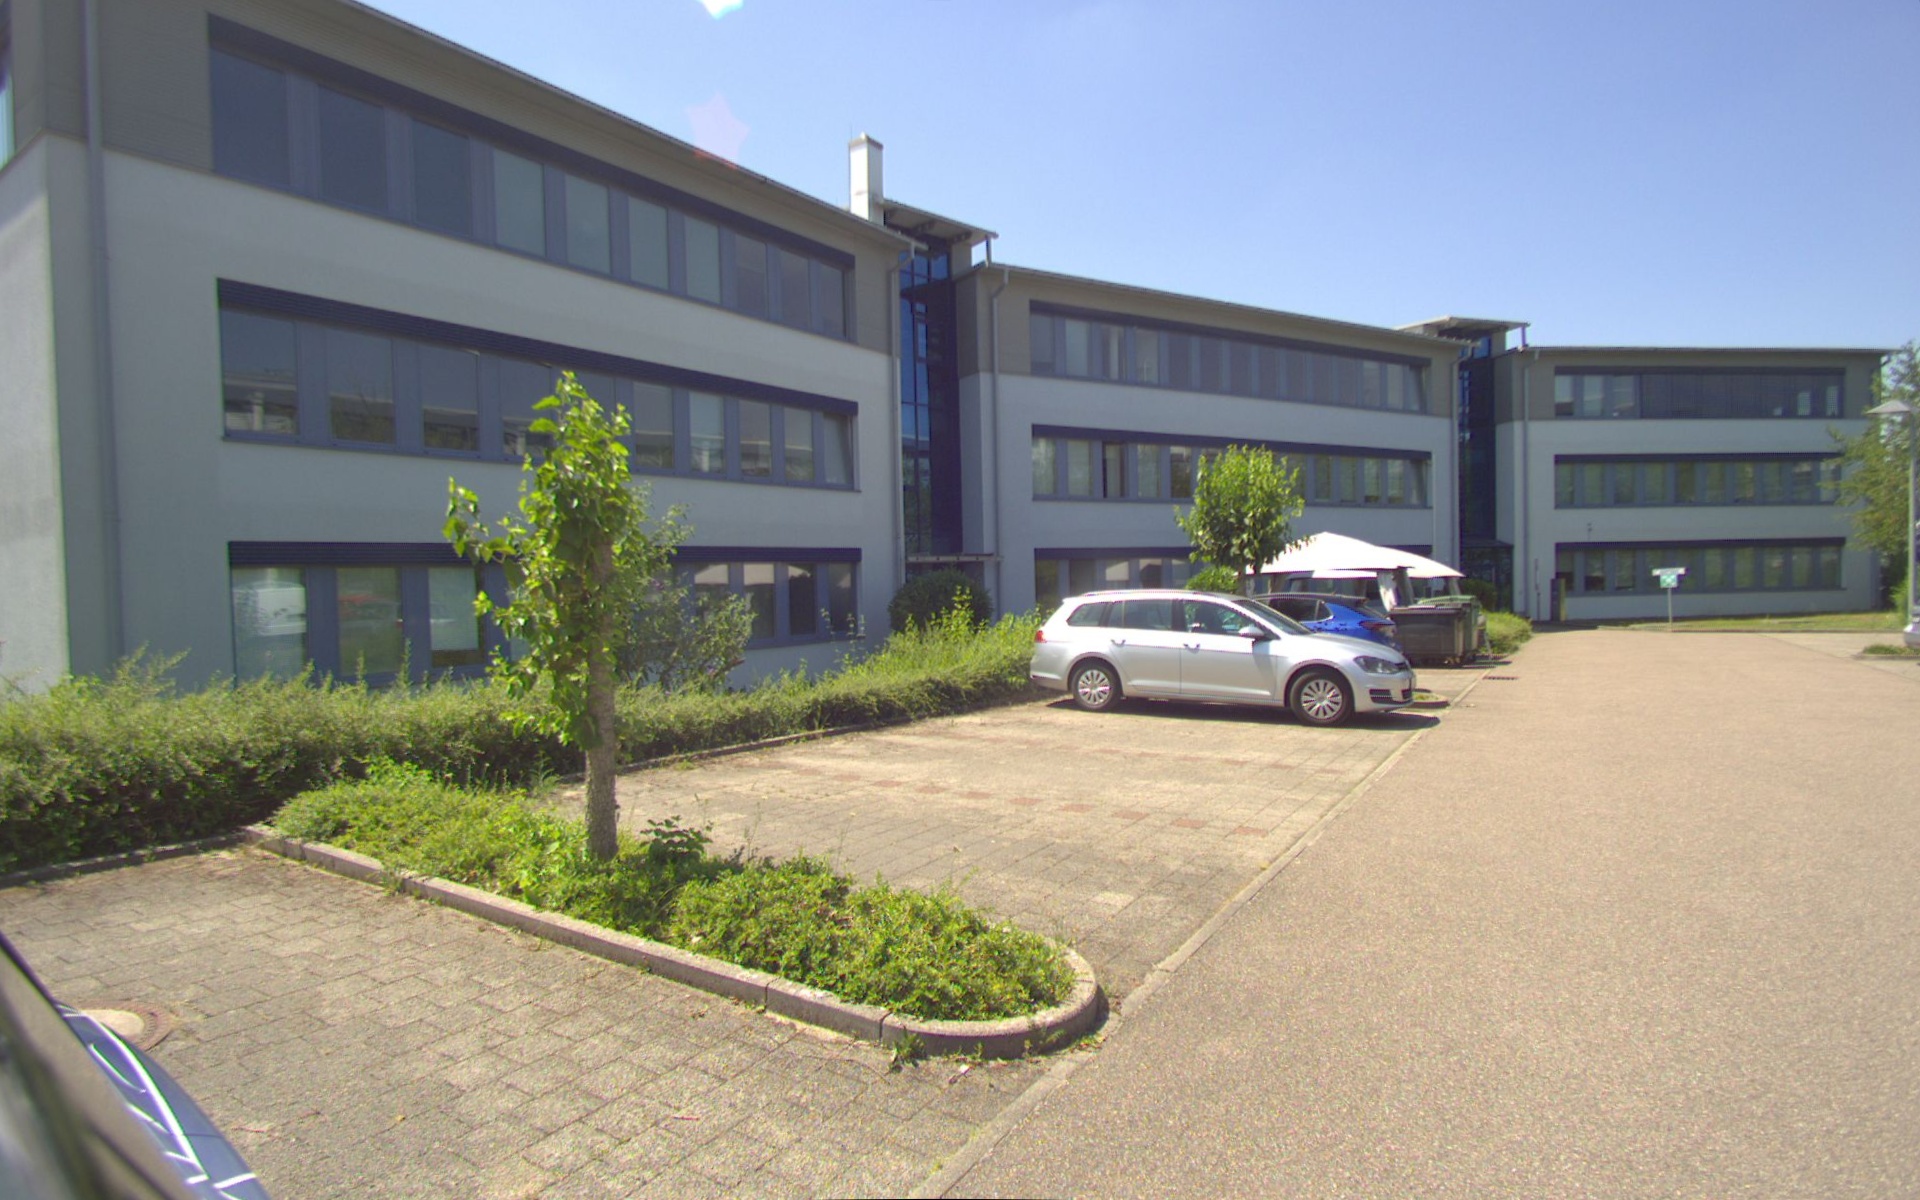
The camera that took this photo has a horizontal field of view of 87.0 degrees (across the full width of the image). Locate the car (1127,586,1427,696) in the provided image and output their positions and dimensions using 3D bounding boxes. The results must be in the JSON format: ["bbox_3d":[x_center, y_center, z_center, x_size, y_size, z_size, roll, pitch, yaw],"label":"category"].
[{"bbox_3d":[4.833,0.592,15.572,3.990,1.473,1.977,-2,0,35],"label":"car"}]

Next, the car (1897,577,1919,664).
[{"bbox_3d":[17.796,0.302,15.957,4.160,1.417,1.851,-1,1,35],"label":"car"}]

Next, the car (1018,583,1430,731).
[{"bbox_3d":[3.105,0.581,12.178,4.468,1.483,1.843,-1,1,32],"label":"car"}]
